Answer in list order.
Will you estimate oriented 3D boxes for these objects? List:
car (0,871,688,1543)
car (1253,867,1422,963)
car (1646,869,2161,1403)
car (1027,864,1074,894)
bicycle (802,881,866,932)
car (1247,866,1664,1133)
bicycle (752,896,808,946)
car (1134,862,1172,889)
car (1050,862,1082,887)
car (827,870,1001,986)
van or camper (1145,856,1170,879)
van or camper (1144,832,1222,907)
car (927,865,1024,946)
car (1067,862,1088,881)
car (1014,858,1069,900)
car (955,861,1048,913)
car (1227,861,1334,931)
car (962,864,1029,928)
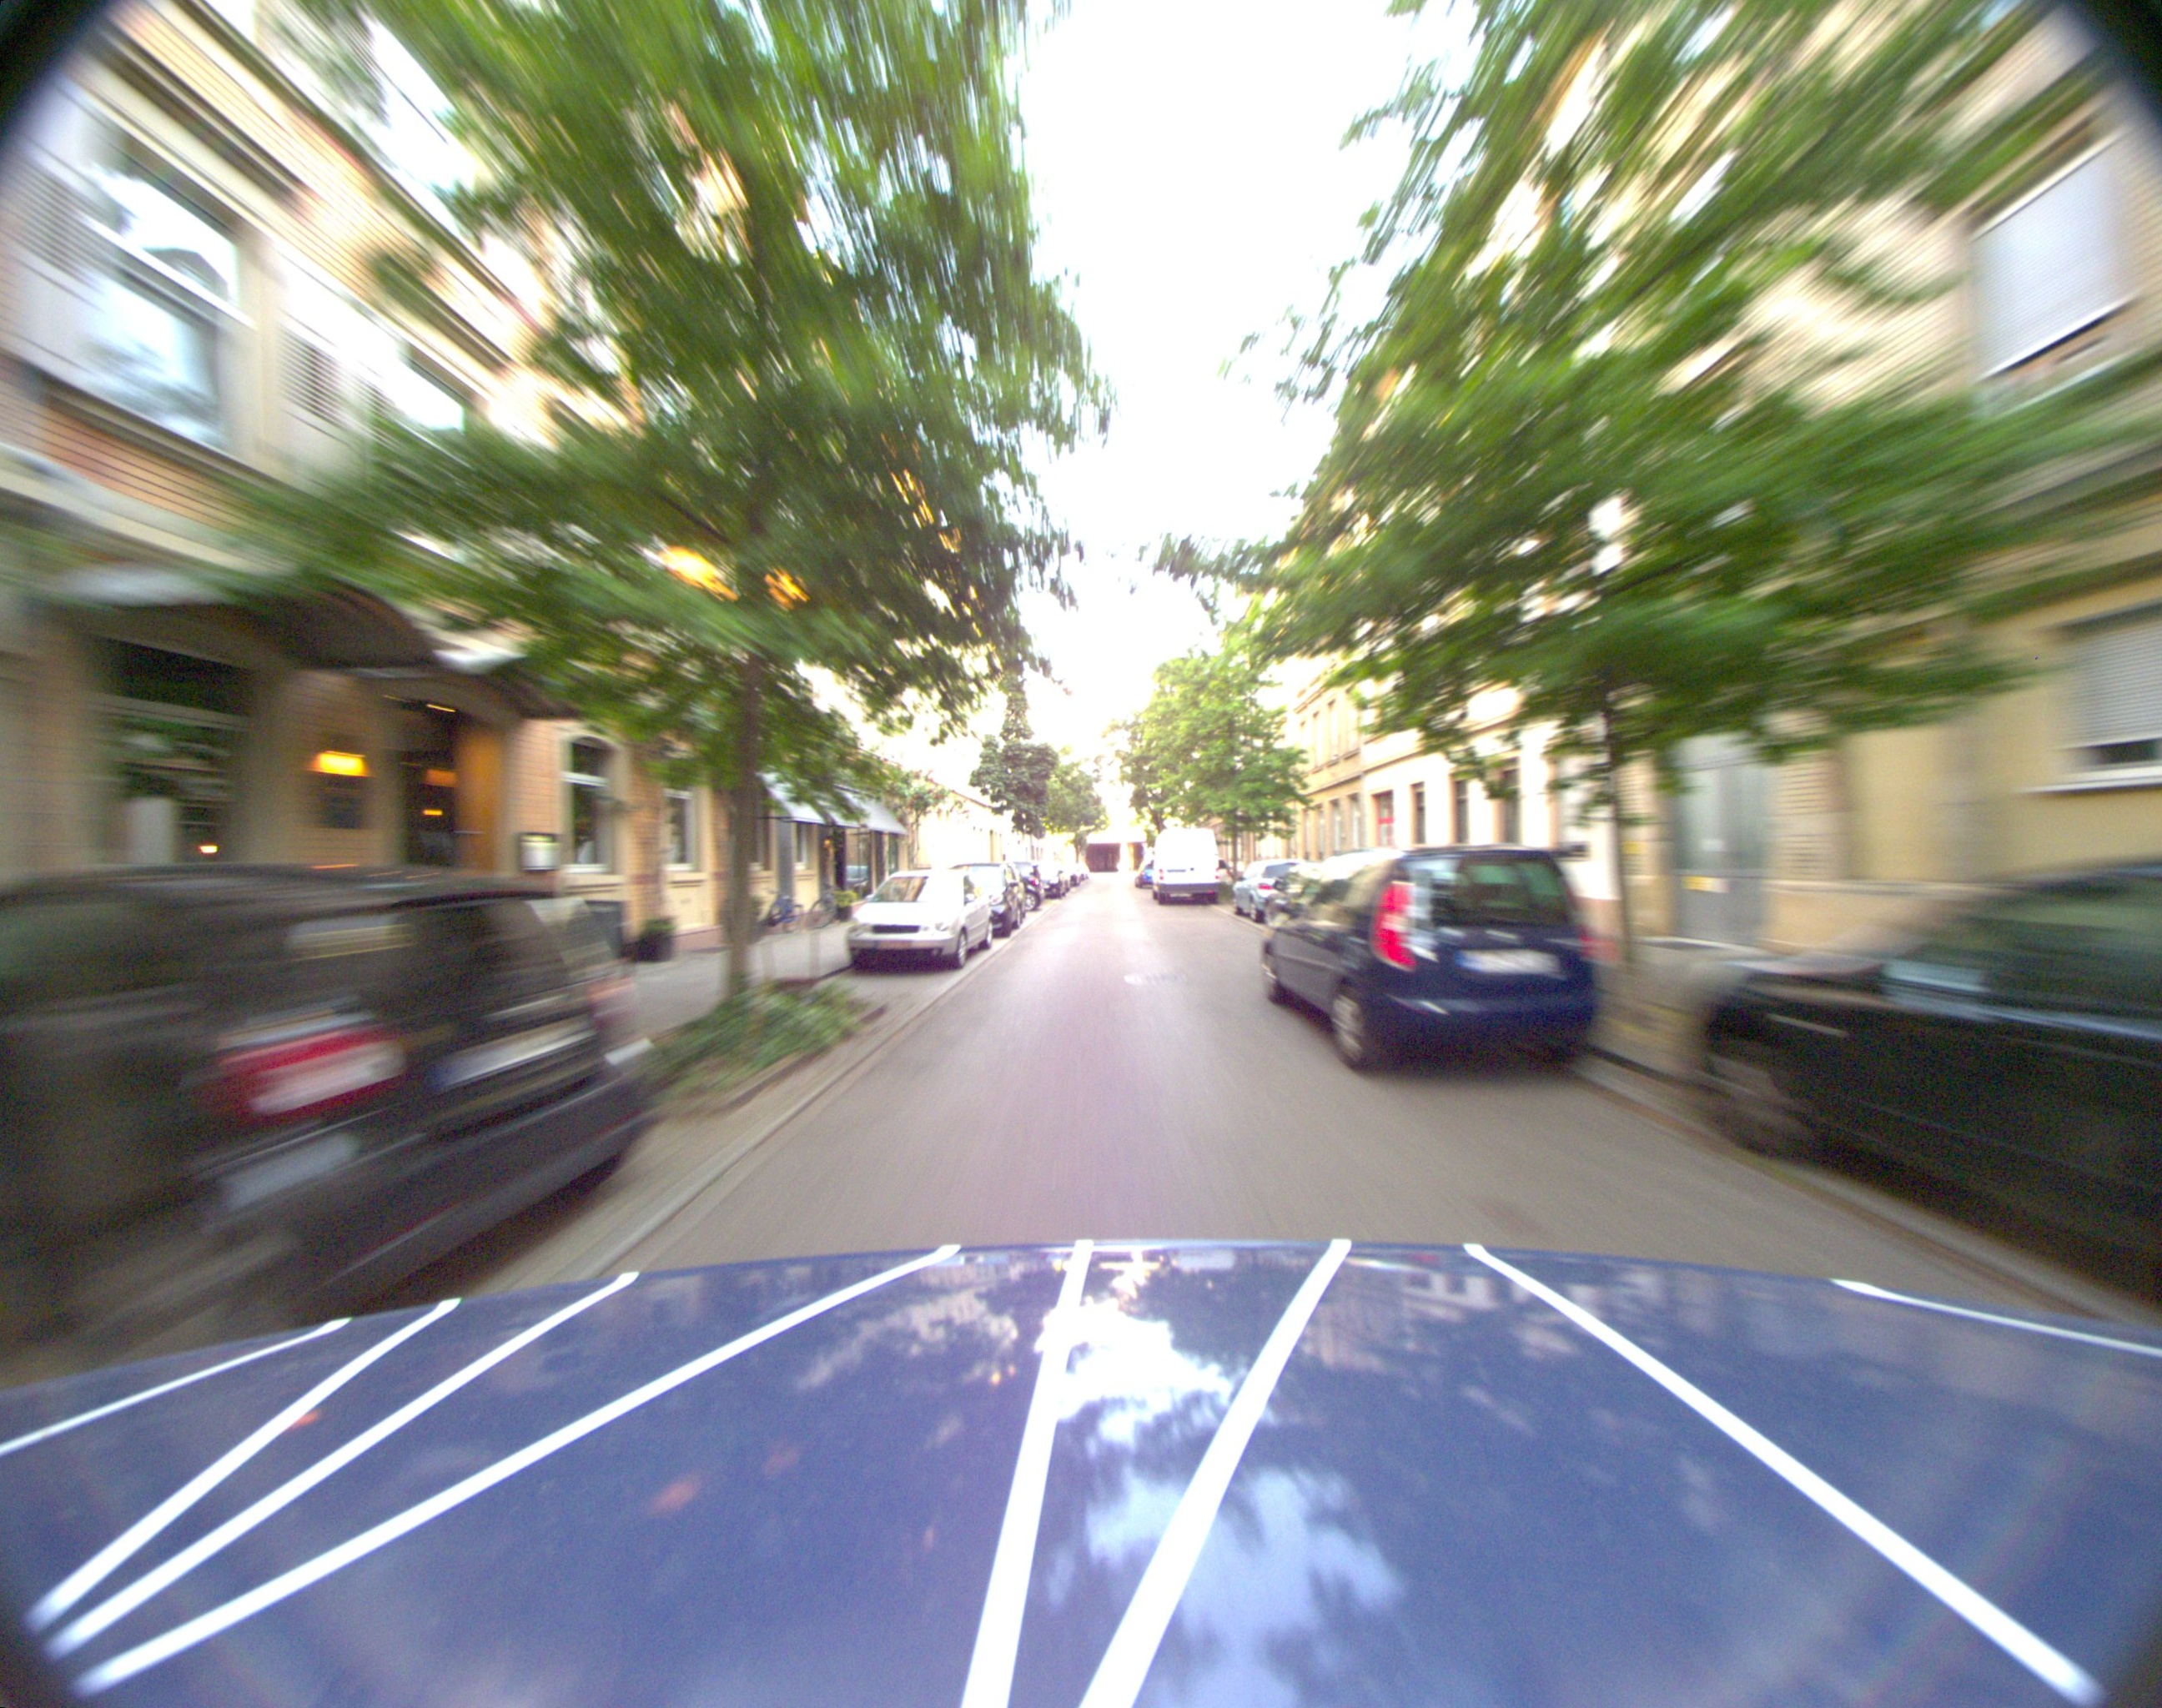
[{"bbox_3d":[-3.397,0.922,2.897,2.804,1.590,1.801,2,0,3],"label":"car"},{"bbox_3d":[4.572,1.005,14.240,1.771,1.454,4.259,-1,0,1],"label":"car"},{"bbox_3d":[4.052,0.860,2.455,1.695,1.492,3.712,-3,0,1],"label":"car"},{"bbox_3d":[-1.493,1.266,39.318,2.051,1.395,4.867,-1,0,2],"label":"car"},{"bbox_3d":[-5.600,1.163,17.353,0.687,1.030,1.951,1,0,3],"label":"bicycle"},{"bbox_3d":[2.732,0.928,6.735,1.728,1.564,4.220,-1,0,2],"label":"car"},{"bbox_3d":[-5.904,1.288,14.976,0.447,0.854,1.548,-1,0,1],"label":"bicycle"},{"bbox_3d":[4.061,1.161,43.248,1.664,1.448,4.283,0,0,-1],"label":"car"},{"bbox_3d":[-0.932,1.333,49.597,1.834,1.530,4.124,-1,0,2],"label":"car"},{"bbox_3d":[-2.463,1.039,12.262,1.737,1.482,4.105,-1,0,2],"label":"car"},{"bbox_3d":[6.482,1.152,64.458,1.683,1.846,3.757,-2,0,-1],"label":"van or camper"},{"bbox_3d":[3.510,0.523,27.309,2.225,2.416,5.661,-1,0,2],"label":"van or camper"},{"bbox_3d":[-2.211,1.047,16.631,1.595,1.551,3.123,-1,0,1],"label":"car"},{"bbox_3d":[-0.292,1.487,65.640,1.656,1.500,3.870,-2,0,0],"label":"car"},{"bbox_3d":[-1.611,1.019,32.545,1.944,1.621,4.455,-2,0,2],"label":"car"},{"bbox_3d":[-2.495,1.038,24.206,2.721,1.564,1.526,1,0,2],"label":"car"},{"bbox_3d":[4.832,0.965,18.984,1.688,1.501,4.114,-2,0,2],"label":"car"},{"bbox_3d":[-2.194,1.039,20.022,1.468,1.543,2.918,0,0,-1],"label":"car"}]
